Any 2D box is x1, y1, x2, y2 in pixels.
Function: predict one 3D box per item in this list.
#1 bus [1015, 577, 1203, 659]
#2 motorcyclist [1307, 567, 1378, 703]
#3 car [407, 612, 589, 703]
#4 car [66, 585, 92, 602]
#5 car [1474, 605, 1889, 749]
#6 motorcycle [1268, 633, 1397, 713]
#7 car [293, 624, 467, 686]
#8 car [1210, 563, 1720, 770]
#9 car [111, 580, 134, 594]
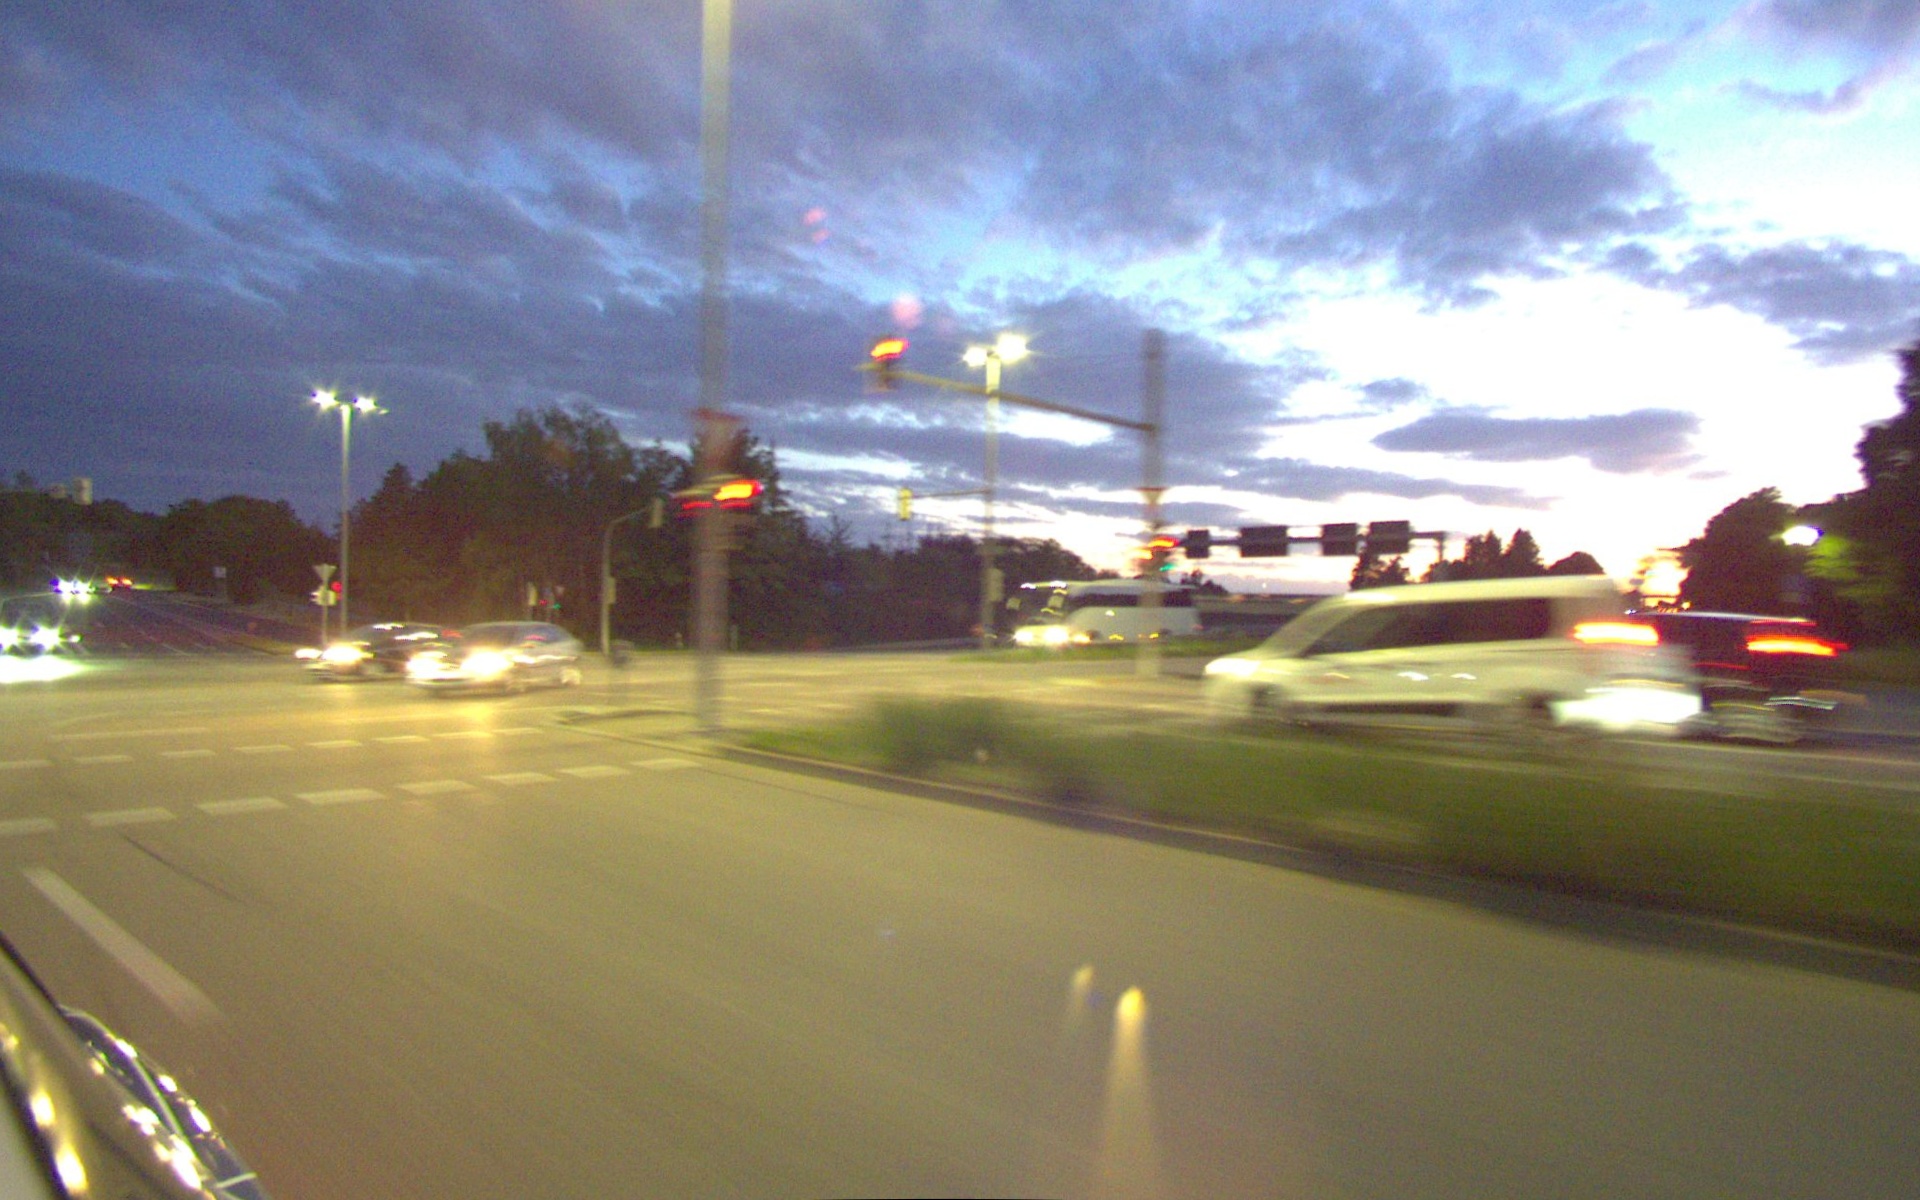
[{"bbox_3d":[7.949,0.935,51.816,12.091,3.819,2.618,1,-3,-44],"label":"bus"},{"bbox_3d":[5.890,0.538,15.592,0.626,2.029,0.769,1,-2,-37],"label":"motorcyclist"},{"bbox_3d":[-9.466,1.156,21.158,1.649,1.666,4.407,-1,-2,3],"label":"car"},{"bbox_3d":[-94.481,-0.650,108.526,1.671,1.608,3.935,0,-2,-34],"label":"car"},{"bbox_3d":[8.575,0.836,12.281,1.747,1.458,3.786,1,-2,-41],"label":"car"},{"bbox_3d":[5.757,1.097,15.738,0.662,1.172,1.812,1,-2,-37],"label":"motorcycle"},{"bbox_3d":[-15.037,1.382,26.457,1.660,1.492,3.748,-1,-2,22],"label":"car"},{"bbox_3d":[5.356,0.656,11.355,1.821,1.828,4.781,1,-2,-41],"label":"car"},{"bbox_3d":[-101.159,-1.563,122.214,4.062,1.584,1.715,3,3,45],"label":"car"}]
